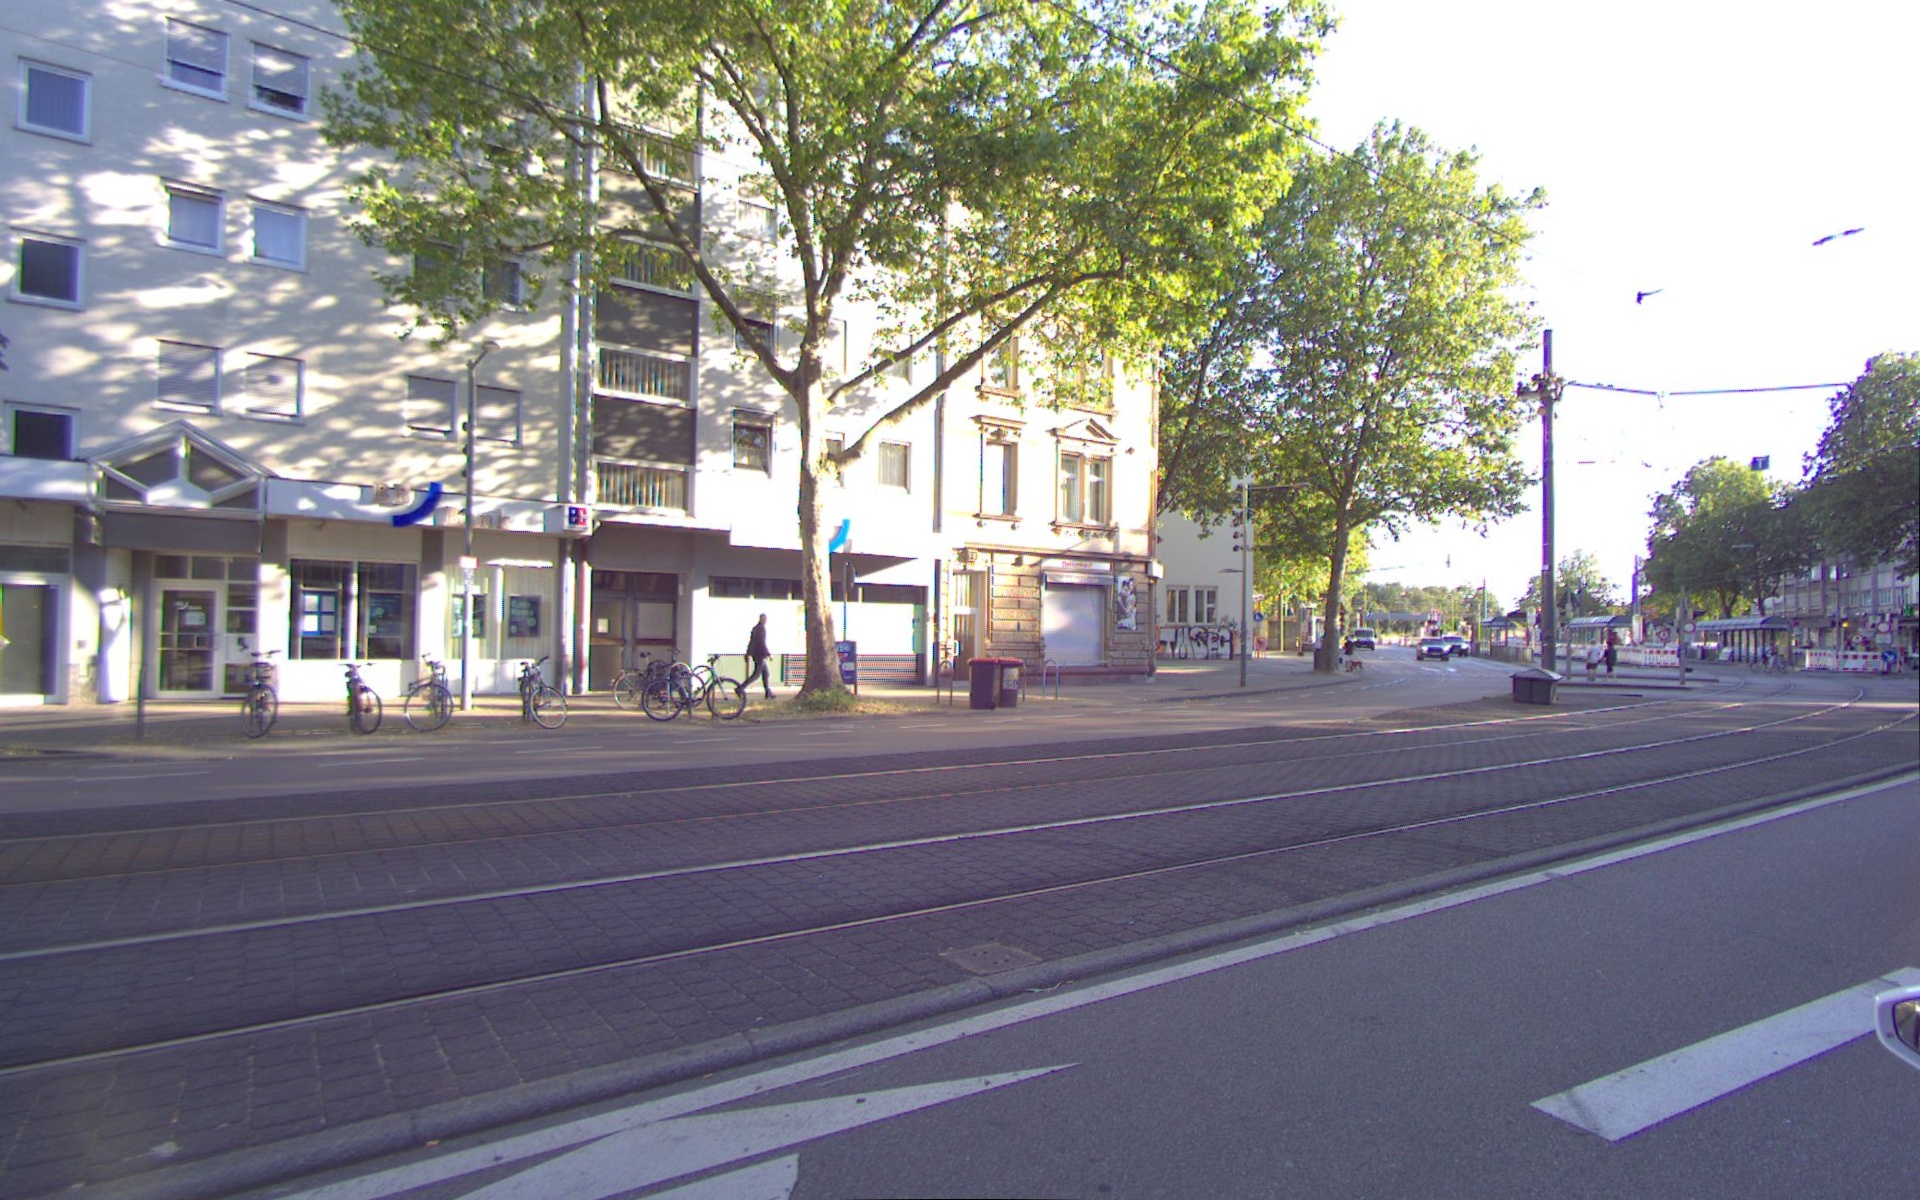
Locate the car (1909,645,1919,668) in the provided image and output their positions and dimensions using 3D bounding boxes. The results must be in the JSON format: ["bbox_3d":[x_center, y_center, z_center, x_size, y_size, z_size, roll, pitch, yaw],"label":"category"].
[{"bbox_3d":[62.959,3.651,64.575,1.635,1.488,3.412,-3,-3,22],"label":"car"}]

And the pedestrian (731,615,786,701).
[{"bbox_3d":[-4.336,1.239,21.644,0.959,1.811,0.615,2,0,-30],"label":"pedestrian"}]

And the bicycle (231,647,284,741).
[{"bbox_3d":[-9.701,1.254,13.848,0.529,1.139,1.880,2,-1,-36],"label":"bicycle"}]

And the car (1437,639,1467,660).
[{"bbox_3d":[39.391,3.976,80.535,1.855,1.605,4.206,0,-2,22],"label":"car"}]

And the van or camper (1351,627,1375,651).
[{"bbox_3d":[41.343,3.984,102.975,2.133,2.349,5.101,-2,-3,24],"label":"van or camper"}]

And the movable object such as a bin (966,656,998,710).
[{"bbox_3d":[0.461,1.735,21.173,0.634,1.108,0.546,0,-2,5],"label":"movable object such as a bin"}]

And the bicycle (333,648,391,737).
[{"bbox_3d":[-8.706,1.300,14.592,0.529,1.139,1.880,2,-1,-36],"label":"bicycle"}]

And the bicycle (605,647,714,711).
[{"bbox_3d":[-5.671,1.471,18.991,1.891,1.139,0.505,2,-1,-34],"label":"bicycle"}]

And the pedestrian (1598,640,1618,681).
[{"bbox_3d":[24.571,2.300,38.064,0.508,1.524,0.408,1,-1,-14],"label":"pedestrian"}]

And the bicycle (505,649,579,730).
[{"bbox_3d":[-6.705,1.392,16.078,0.646,1.139,1.880,2,-1,-36],"label":"bicycle"}]

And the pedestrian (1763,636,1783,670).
[{"bbox_3d":[42.959,2.808,53.093,0.708,1.748,0.399,0,-1,16],"label":"pedestrian"}]

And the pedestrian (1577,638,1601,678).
[{"bbox_3d":[23.898,2.205,38.160,0.583,1.524,0.520,1,-1,-13],"label":"pedestrian"}]

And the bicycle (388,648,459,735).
[{"bbox_3d":[-8.066,1.333,15.063,0.646,1.139,1.880,2,-1,-36],"label":"bicycle"}]

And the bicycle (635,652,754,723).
[{"bbox_3d":[-4.530,1.470,17.191,1.891,1.139,0.505,2,-1,-34],"label":"bicycle"}]

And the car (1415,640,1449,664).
[{"bbox_3d":[31.004,3.406,66.056,1.856,1.492,4.205,0,-2,24],"label":"car"}]

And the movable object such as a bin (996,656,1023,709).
[{"bbox_3d":[1.069,1.779,21.787,0.562,1.108,0.477,0,-2,5],"label":"movable object such as a bin"}]

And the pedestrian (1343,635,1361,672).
[{"bbox_3d":[18.613,2.535,47.710,0.663,1.733,0.431,2,0,2],"label":"pedestrian"}]

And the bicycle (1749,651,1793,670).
[{"bbox_3d":[43.204,3.212,53.520,1.809,0.955,0.464,0,-2,16],"label":"bicycle"}]
